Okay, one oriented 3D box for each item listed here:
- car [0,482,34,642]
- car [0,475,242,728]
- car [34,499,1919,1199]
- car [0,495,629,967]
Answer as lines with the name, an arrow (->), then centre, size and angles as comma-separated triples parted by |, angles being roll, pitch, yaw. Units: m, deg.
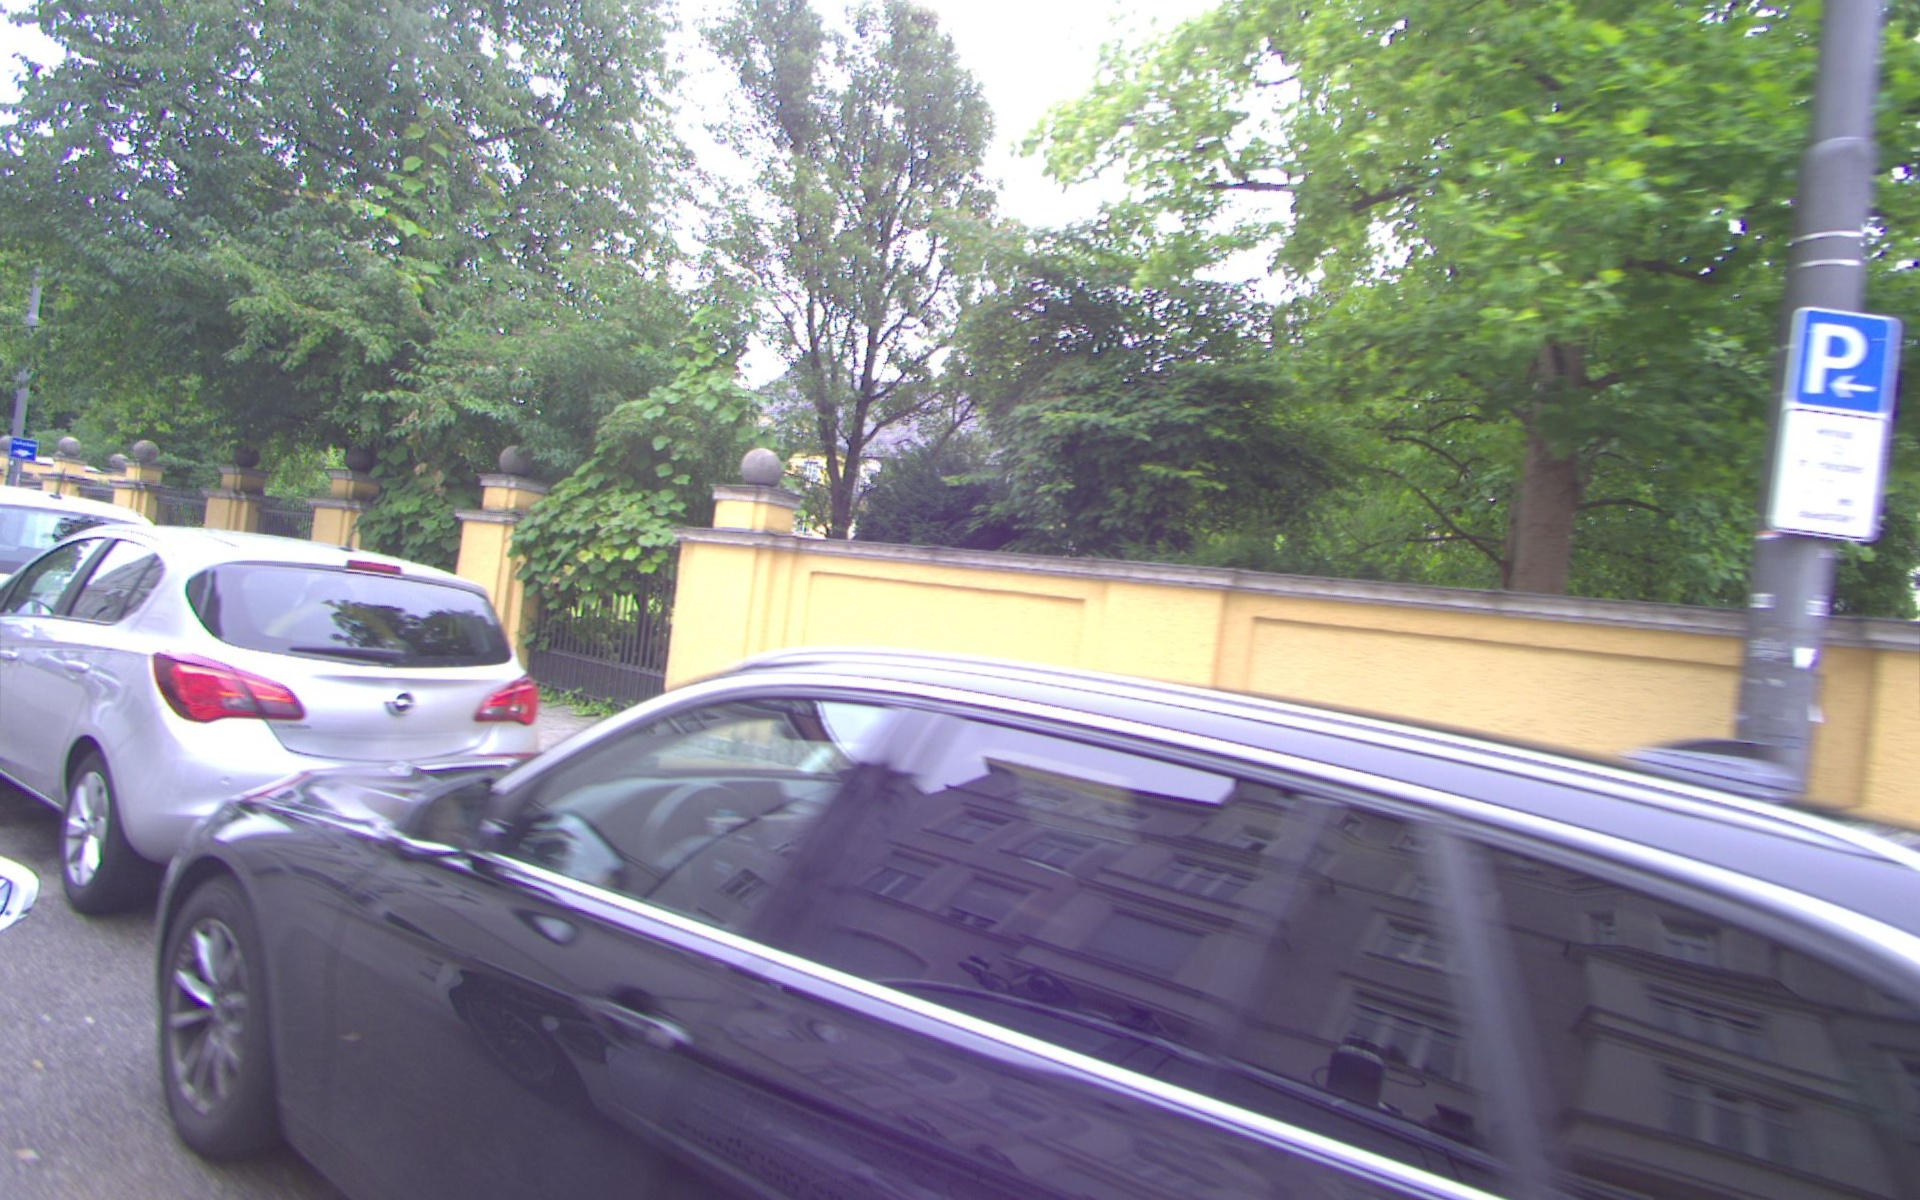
car -> -11.904, -0.658, 10.839 | 4.616, 1.589, 1.714 | 7, -1, 34
car -> -7.565, -0.152, 7.840 | 4.250, 1.589, 1.714 | 7, -1, 34
car -> -0.183, 0.740, 2.329 | 4.876, 1.471, 1.714 | 7, -1, 34
car -> -3.798, 0.352, 5.162 | 4.117, 1.471, 1.714 | 7, -1, 34
